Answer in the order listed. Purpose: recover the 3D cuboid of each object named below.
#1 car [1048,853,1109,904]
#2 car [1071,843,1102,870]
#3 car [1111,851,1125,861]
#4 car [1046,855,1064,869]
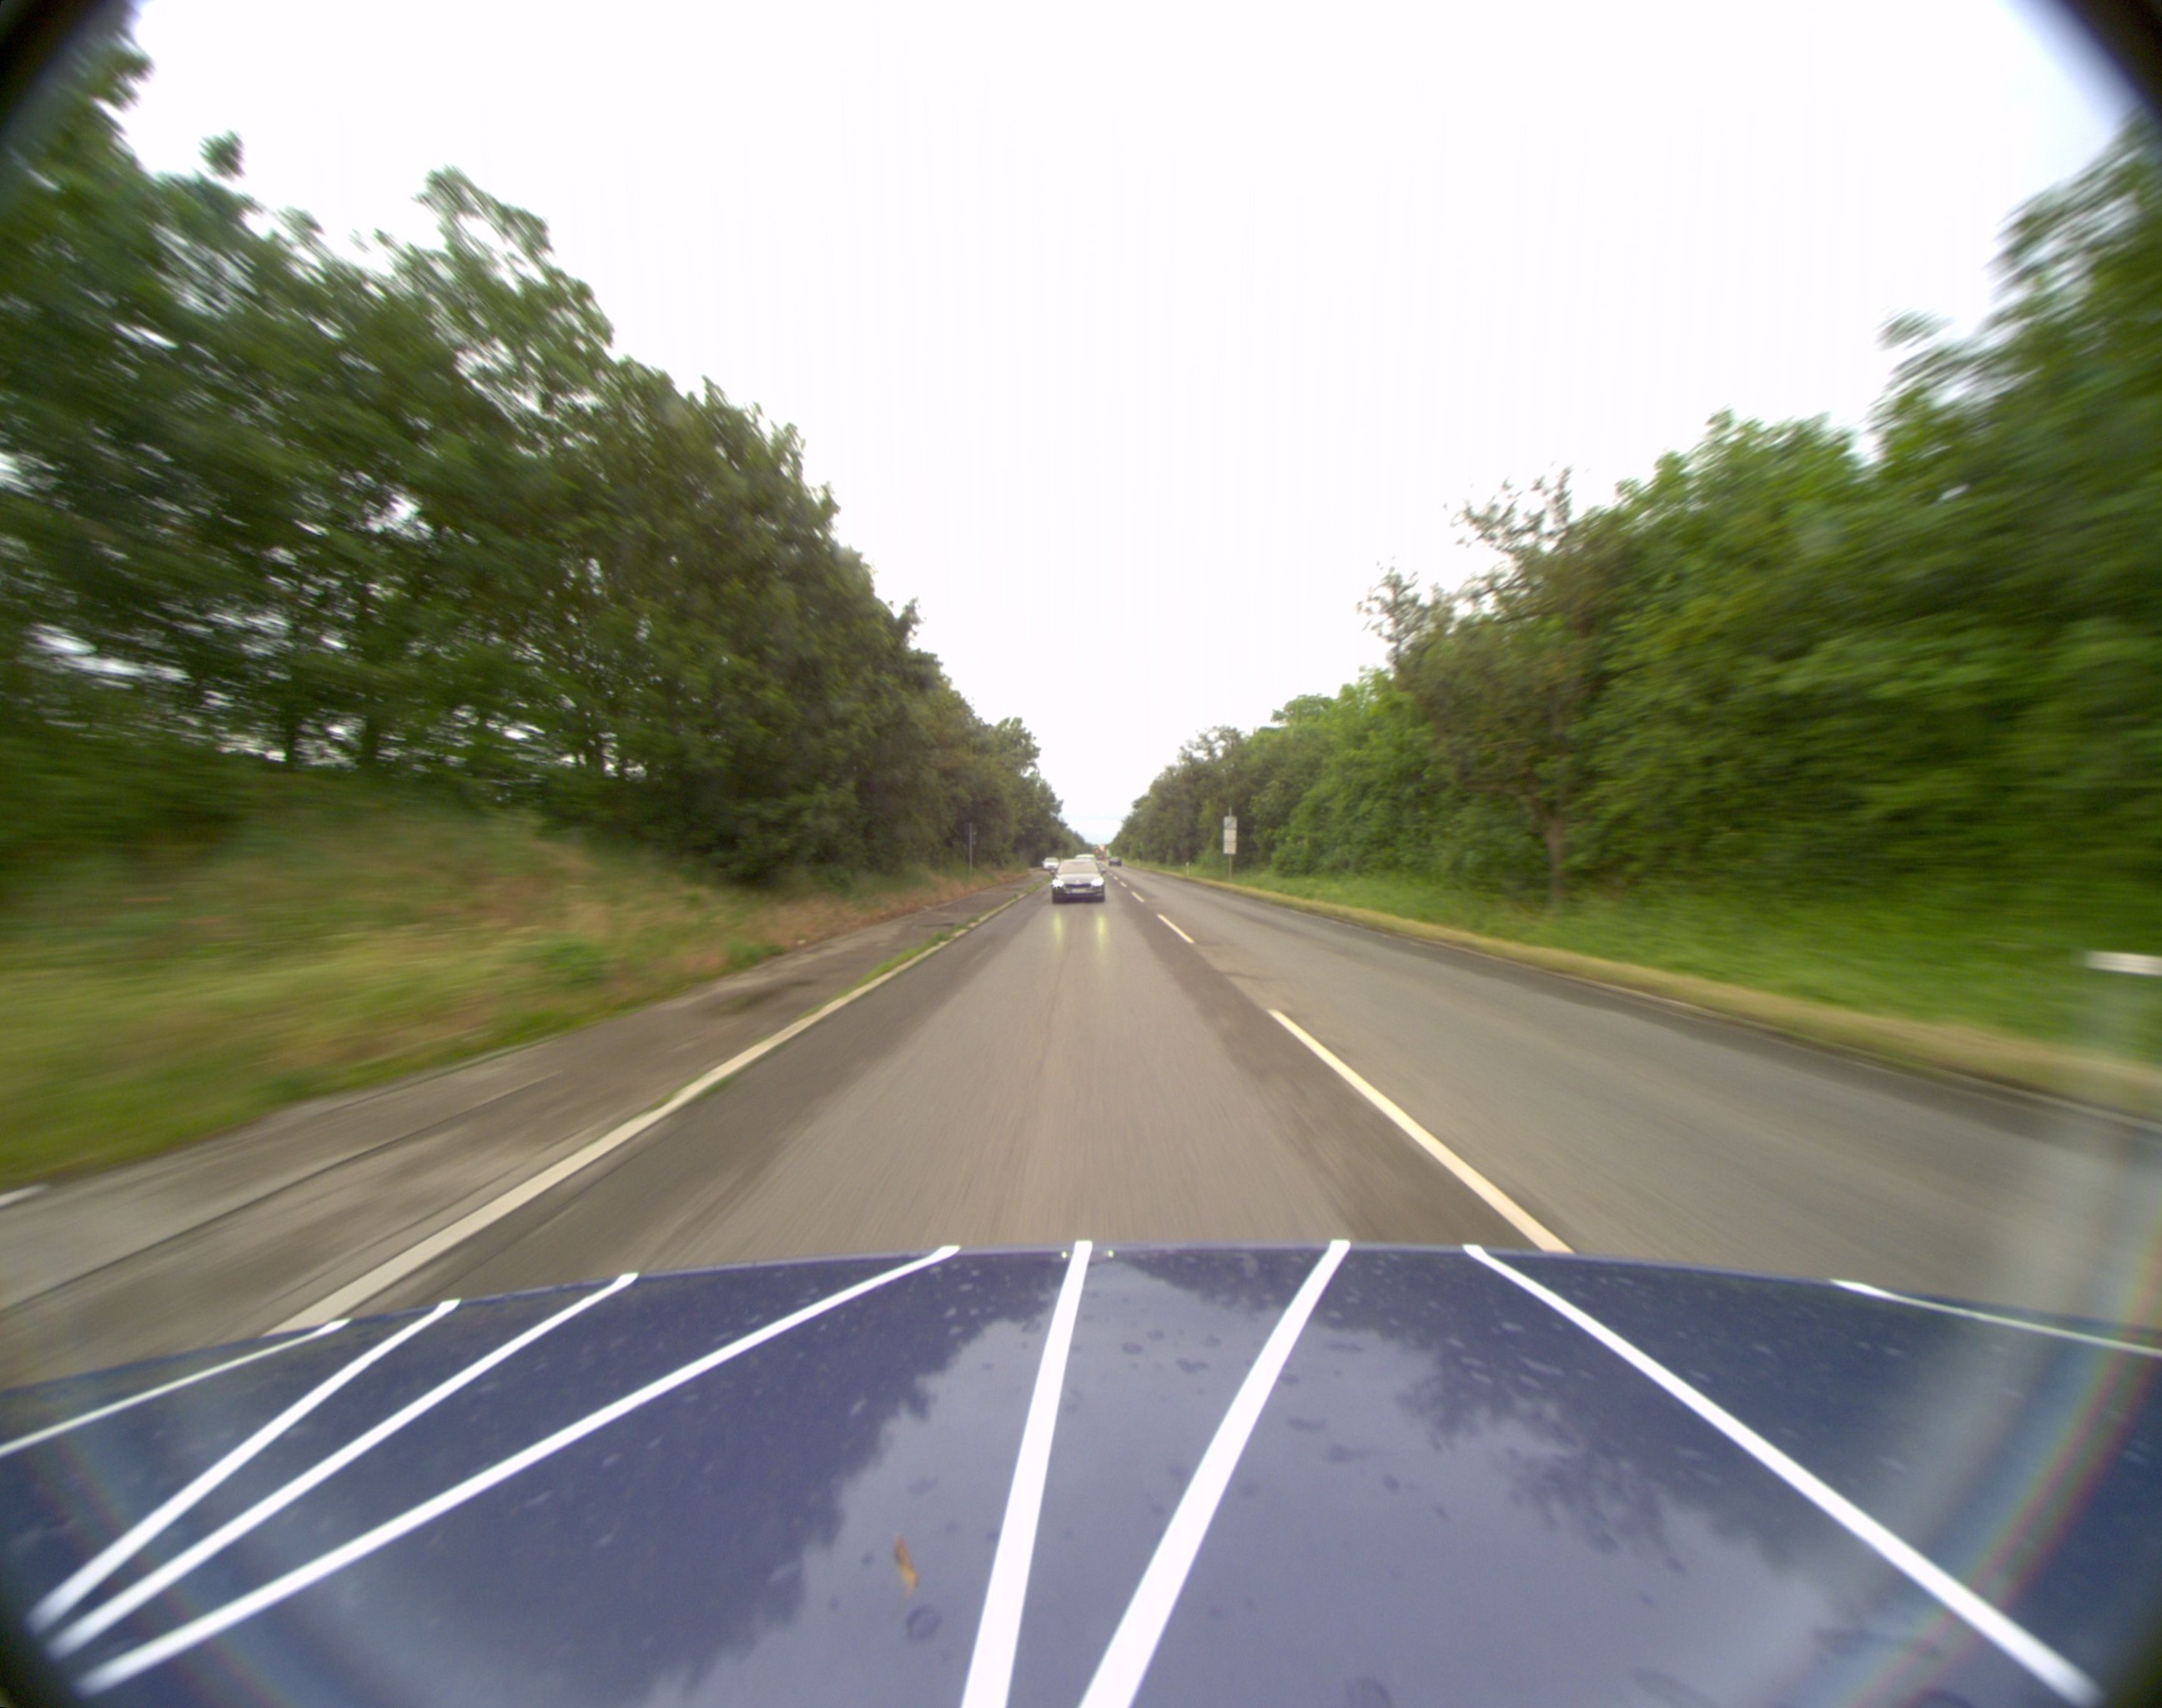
[{"bbox_3d":[-0.057,0.808,26.880,1.915,1.543,4.354,-2,1,1],"label":"car"},{"bbox_3d":[0.379,0.154,51.554,1.915,1.691,3.913,-2,1,1],"label":"car"},{"bbox_3d":[5.895,0.335,121.501,1.876,1.480,4.573,2,1,1],"label":"car"},{"bbox_3d":[-2.857,0.896,84.131,1.748,1.460,4.220,1,1,1],"label":"car"}]
